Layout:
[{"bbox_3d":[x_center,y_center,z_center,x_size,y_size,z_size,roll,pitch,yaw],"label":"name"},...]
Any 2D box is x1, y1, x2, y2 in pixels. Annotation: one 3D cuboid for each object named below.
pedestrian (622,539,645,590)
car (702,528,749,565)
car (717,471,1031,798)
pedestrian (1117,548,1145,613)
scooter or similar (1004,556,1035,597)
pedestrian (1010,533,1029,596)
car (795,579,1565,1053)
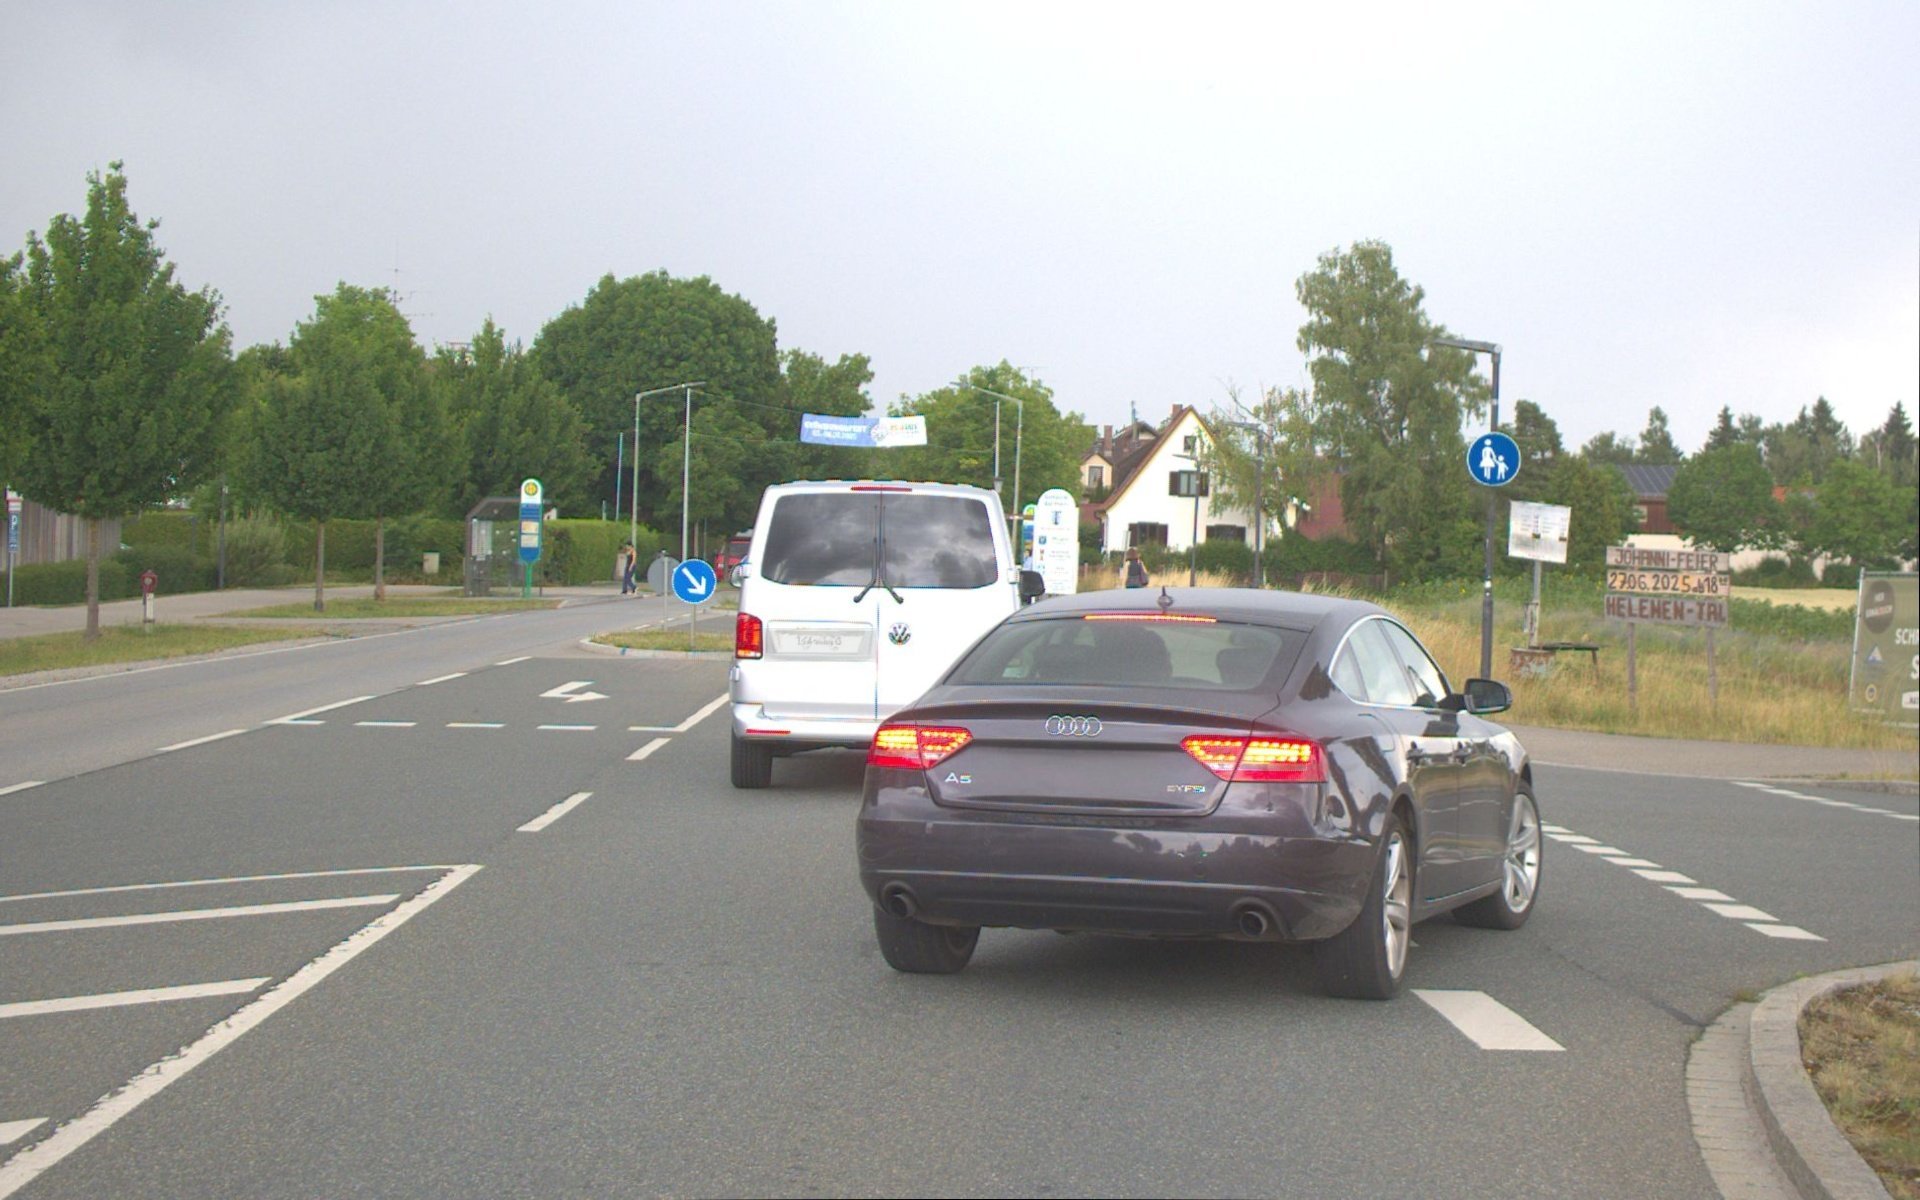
[{"bbox_3d":[-9.683,-1.051,102.037,0.623,1.519,0.680,0,1,-1],"label":"pedestrian"},{"bbox_3d":[-9.224,-2.112,135.595,1.653,1.424,3.602,0,1,-1],"label":"car"},{"bbox_3d":[-0.594,0.165,22.866,1.825,1.907,4.001,3,1,-2],"label":"car"},{"bbox_3d":[4.053,-0.465,81.456,0.623,1.519,0.680,0,1,-1],"label":"pedestrian"},{"bbox_3d":[1.630,-0.657,94.438,0.848,1.100,1.094,0,1,0],"label":"scooter or similar"},{"bbox_3d":[1.617,-0.966,93.529,0.485,1.726,0.642,0,1,-1],"label":"pedestrian"},{"bbox_3d":[1.034,0.656,13.040,1.827,1.384,4.383,0,2,19],"label":"car"}]
